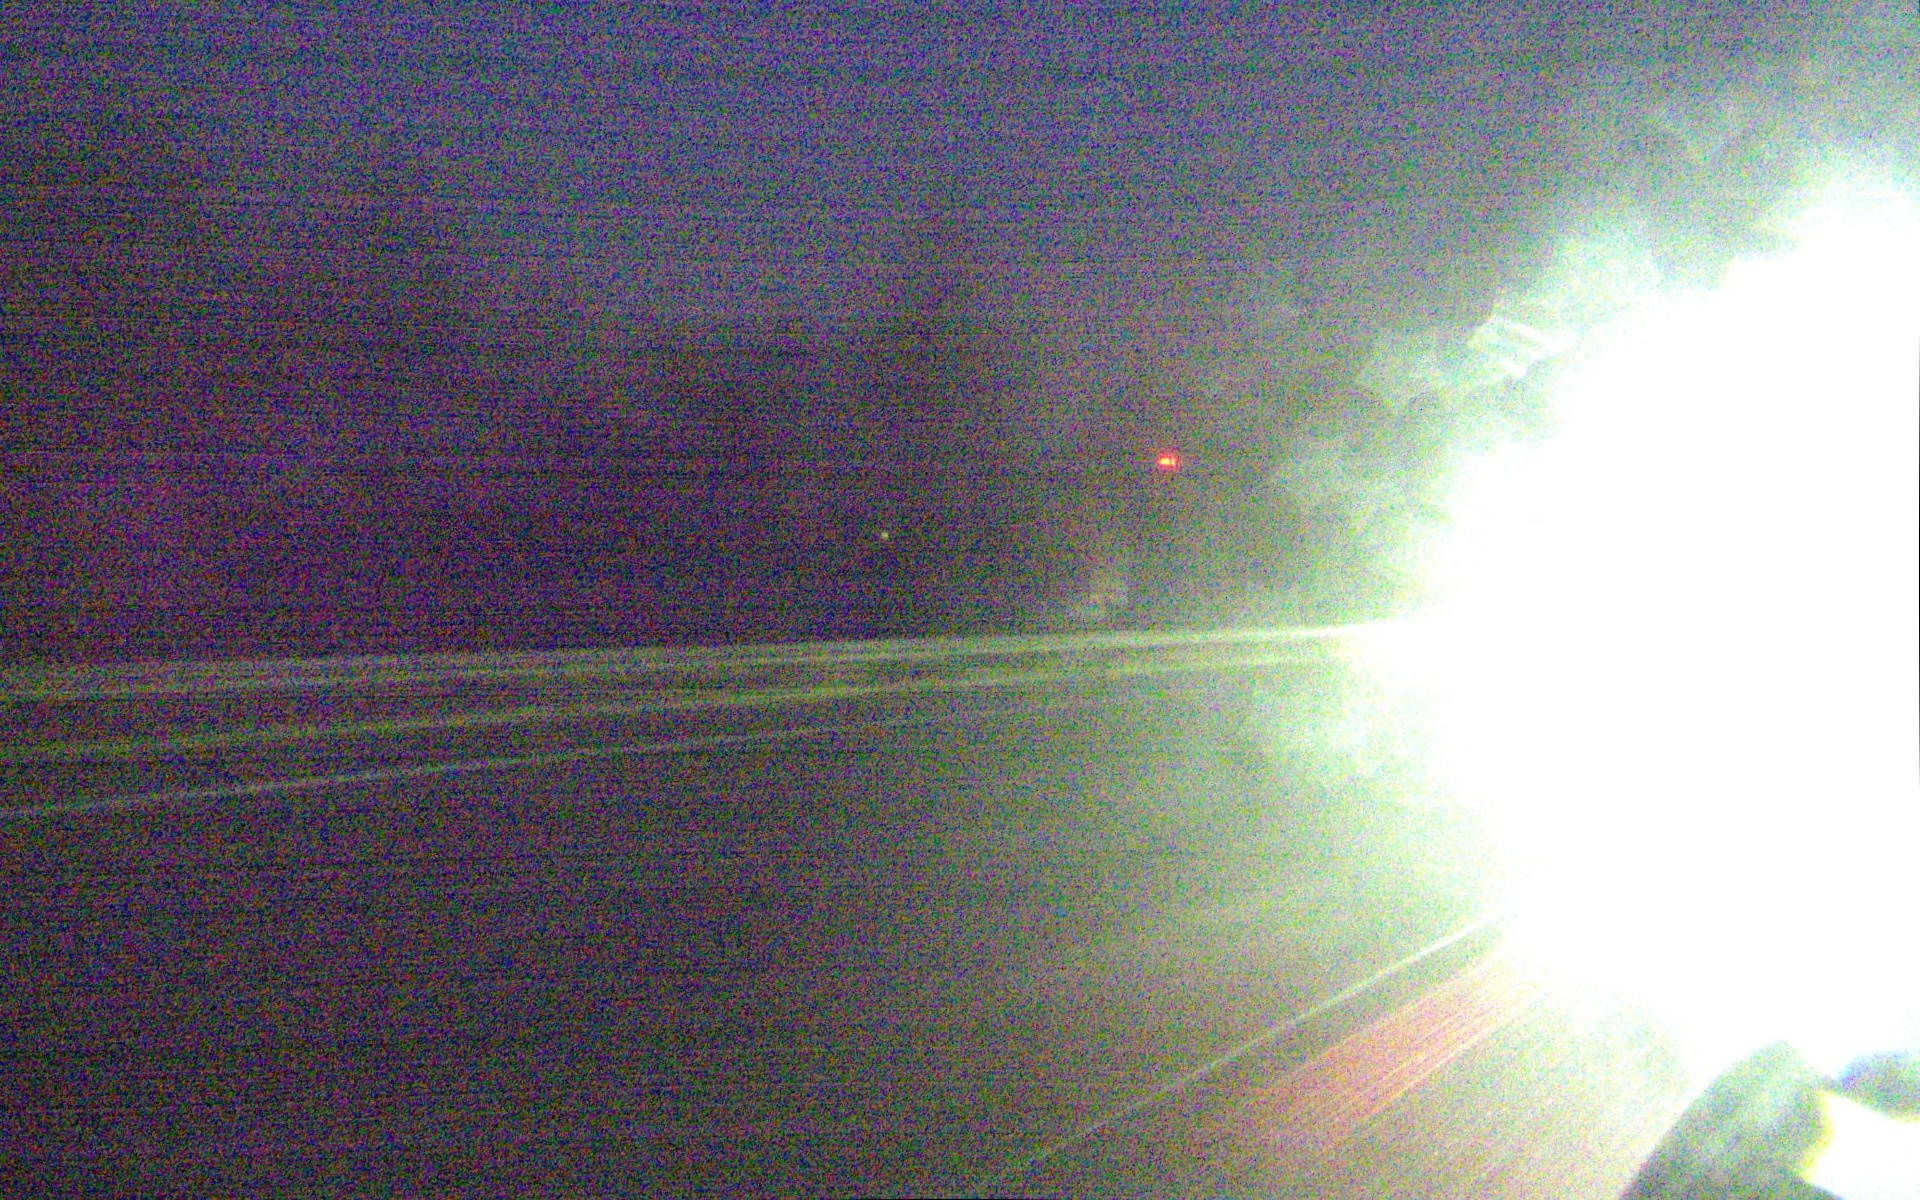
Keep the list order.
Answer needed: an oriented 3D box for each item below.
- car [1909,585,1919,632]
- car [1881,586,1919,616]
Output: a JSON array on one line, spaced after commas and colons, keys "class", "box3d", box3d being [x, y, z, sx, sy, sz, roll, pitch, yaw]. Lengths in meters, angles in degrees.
[{"class": "car", "box3d": [37.483, 0.298, 38.392, 3.931, 1.712, 1.791, -1, 1, -41]}, {"class": "car", "box3d": [53.932, 0.014, 57.316, 4.570, 1.619, 1.998, -1, 1, -40]}]
